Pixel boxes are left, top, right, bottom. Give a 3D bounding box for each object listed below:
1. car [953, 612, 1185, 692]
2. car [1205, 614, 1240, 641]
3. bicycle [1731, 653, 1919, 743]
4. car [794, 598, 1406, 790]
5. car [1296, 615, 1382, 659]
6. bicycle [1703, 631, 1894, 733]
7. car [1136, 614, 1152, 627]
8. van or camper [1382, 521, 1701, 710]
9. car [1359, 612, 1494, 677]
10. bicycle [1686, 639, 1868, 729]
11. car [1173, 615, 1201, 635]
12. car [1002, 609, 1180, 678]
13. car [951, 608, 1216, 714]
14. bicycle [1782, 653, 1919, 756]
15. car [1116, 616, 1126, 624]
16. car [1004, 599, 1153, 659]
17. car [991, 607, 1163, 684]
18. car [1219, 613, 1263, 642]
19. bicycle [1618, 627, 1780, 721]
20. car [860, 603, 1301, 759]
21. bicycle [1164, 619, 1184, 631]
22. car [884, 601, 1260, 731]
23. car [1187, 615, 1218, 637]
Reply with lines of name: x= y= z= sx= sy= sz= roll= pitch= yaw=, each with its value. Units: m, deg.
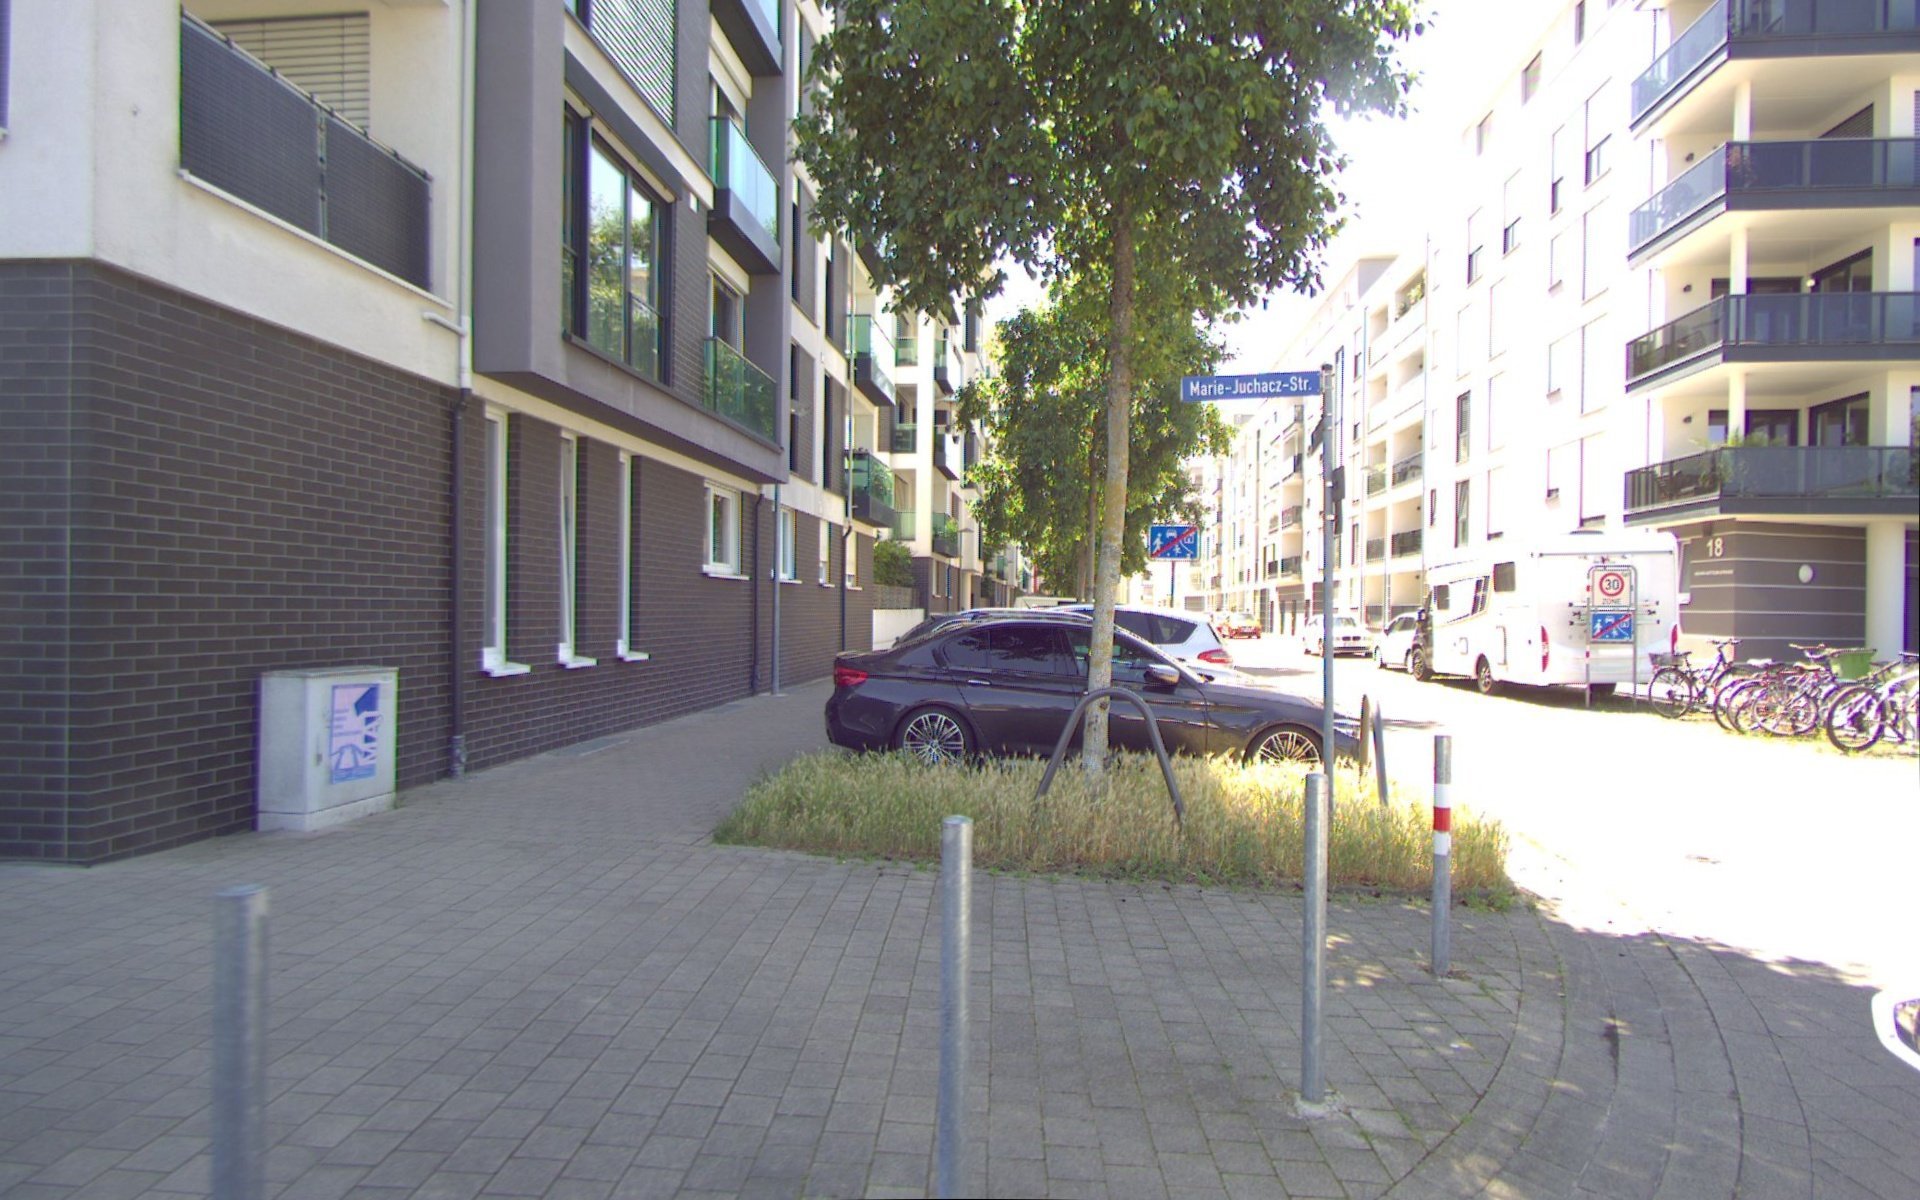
car: x=2.343 y=1.084 z=21.777 sx=4.767 sy=1.476 sz=1.830 roll=2 pitch=-1 yaw=7
car: x=16.049 y=1.661 z=61.477 sx=1.568 sy=1.505 sz=3.678 roll=-2 pitch=-1 yaw=7
bicycle: x=10.552 y=1.152 z=12.061 sx=1.823 sy=0.988 sz=0.945 roll=-2 pitch=-1 yaw=20
car: x=1.181 y=0.779 z=9.265 sx=5.012 sy=1.504 sz=1.929 roll=1 pitch=-1 yaw=4
car: x=13.076 y=1.253 z=34.921 sx=1.814 sy=1.435 sz=4.429 roll=0 pitch=-1 yaw=8
bicycle: x=10.563 y=1.024 z=12.699 sx=1.818 sy=1.239 sz=0.556 roll=-1 pitch=0 yaw=8
car: x=25.220 y=2.791 z=137.889 sx=1.963 sy=1.679 sz=4.118 roll=-1 pitch=-1 yaw=7
van or camper: x=10.813 y=0.331 z=19.774 sx=2.397 sy=2.944 sz=7.832 roll=1 pitch=-1 yaw=6
car: x=11.922 y=1.094 z=25.976 sx=1.776 sy=1.524 sz=4.263 roll=-1 pitch=-1 yaw=5
bicycle: x=10.602 y=1.081 z=13.074 sx=1.851 sy=1.125 sz=0.476 roll=0 pitch=0 yaw=8
car: x=18.595 y=2.021 z=82.492 sx=1.803 sy=1.524 sz=4.353 roll=-2 pitch=-1 yaw=7
car: x=3.399 y=1.130 z=26.768 sx=4.482 sy=1.615 sz=1.967 roll=2 pitch=-1 yaw=2
car: x=2.019 y=0.982 z=16.999 sx=4.179 sy=1.551 sz=1.823 roll=2 pitch=0 yaw=4
bicycle: x=10.416 y=1.126 z=11.112 sx=1.994 sy=1.016 sz=0.874 roll=-1 pitch=-1 yaw=-6
car: x=33.029 y=4.038 z=206.144 sx=1.960 sy=1.697 sz=4.002 roll=0 pitch=-1 yaw=6
car: x=4.361 y=1.064 z=36.909 sx=5.251 sy=2.138 sz=2.189 roll=0 pitch=-1 yaw=9
car: x=2.820 y=1.048 z=24.185 sx=3.912 sy=1.651 sz=1.951 roll=1 pitch=-1 yaw=9
car: x=15.603 y=1.496 z=55.952 sx=1.708 sy=1.506 sz=4.261 roll=-1 pitch=-1 yaw=7
bicycle: x=10.814 y=1.058 z=14.726 sx=1.887 sy=1.239 sz=0.825 roll=-2 pitch=0 yaw=-9
car: x=1.354 y=0.898 z=11.904 sx=4.736 sy=1.468 sz=1.829 roll=3 pitch=-1 yaw=4
bicycle: x=20.230 y=2.355 z=95.103 sx=1.756 sy=1.119 sz=0.747 roll=-1 pitch=-1 yaw=3
car: x=1.527 y=0.867 z=14.318 sx=4.943 sy=1.654 sz=2.043 roll=1 pitch=0 yaw=4
car: x=17.153 y=1.835 z=71.189 sx=1.615 sy=1.482 sz=4.120 roll=-2 pitch=-1 yaw=6
